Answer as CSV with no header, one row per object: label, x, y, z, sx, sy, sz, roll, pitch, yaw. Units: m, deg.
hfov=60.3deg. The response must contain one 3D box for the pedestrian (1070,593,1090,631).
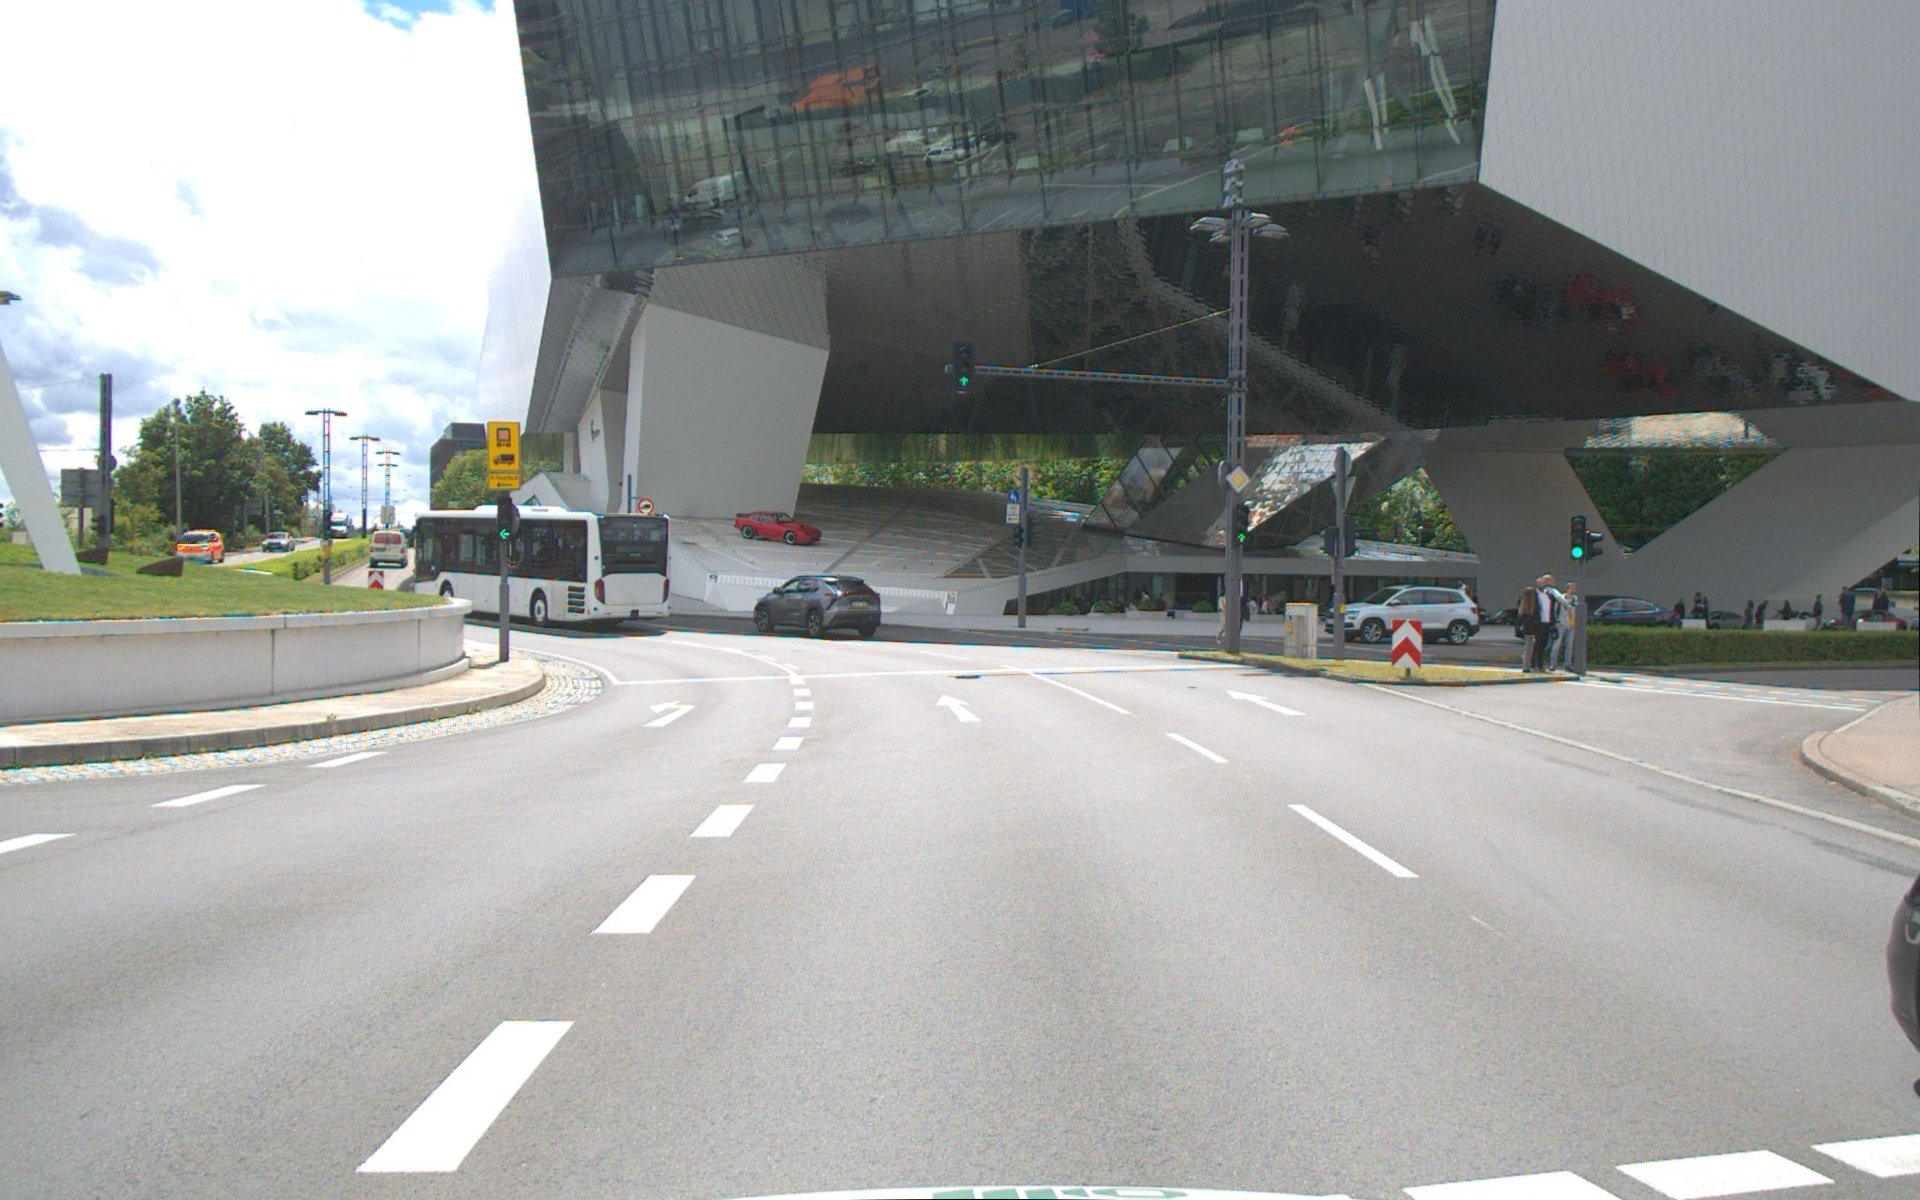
pedestrian,5.080,0.503,70.003,0.810,1.600,0.924,1,-1,5

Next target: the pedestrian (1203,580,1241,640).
pedestrian,6.769,0.263,42.721,0.757,1.522,0.580,1,-1,40

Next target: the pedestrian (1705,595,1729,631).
pedestrian,37.358,0.627,81.666,0.818,1.769,0.767,2,-1,-36

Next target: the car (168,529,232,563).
car,-45.363,-3.219,98.828,1.955,2.018,4.832,0,2,-6

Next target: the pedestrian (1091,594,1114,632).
pedestrian,6.128,0.556,70.987,0.901,1.600,0.831,1,-1,9

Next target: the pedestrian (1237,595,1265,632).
pedestrian,12.570,0.579,71.443,0.818,1.600,0.915,2,-1,-26

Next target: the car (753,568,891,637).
car,-3.814,0.024,45.324,1.979,1.664,3.948,-3,4,-37

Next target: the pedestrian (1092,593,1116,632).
pedestrian,6.092,0.542,70.012,0.901,1.600,0.831,1,-1,9

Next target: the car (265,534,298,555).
car,-51.664,-4.266,125.965,1.726,1.421,4.655,2,3,-16

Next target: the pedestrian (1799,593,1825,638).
pedestrian,41.189,0.727,79.960,0.817,2.151,0.768,2,-1,-33

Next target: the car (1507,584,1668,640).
car,17.804,0.339,46.917,4.085,1.407,1.827,2,1,-21

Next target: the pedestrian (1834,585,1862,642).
pedestrian,32.527,0.500,60.570,0.758,2.049,0.827,1,-1,21

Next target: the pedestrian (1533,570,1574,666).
pedestrian,11.831,0.363,32.951,0.658,1.879,0.619,1,-1,27

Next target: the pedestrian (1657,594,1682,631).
pedestrian,34.817,0.609,81.145,0.817,1.769,0.768,2,-1,-33

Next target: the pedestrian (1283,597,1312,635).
pedestrian,14.509,0.671,71.096,0.815,1.600,0.918,2,-1,-20

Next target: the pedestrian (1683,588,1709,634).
pedestrian,33.389,0.498,75.014,0.818,2.049,0.767,2,-1,-36

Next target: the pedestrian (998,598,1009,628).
pedestrian,1.873,0.574,71.501,0.387,1.275,0.400,2,-1,-7

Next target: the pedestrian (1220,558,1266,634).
pedestrian,7.777,-0.126,45.526,0.934,2.019,1.381,2,1,-1

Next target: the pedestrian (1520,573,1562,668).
pedestrian,11.363,0.391,32.342,0.658,1.826,0.619,1,-1,29

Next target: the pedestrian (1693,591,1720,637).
pedestrian,34.115,0.631,75.583,0.818,2.049,0.767,2,-1,-36

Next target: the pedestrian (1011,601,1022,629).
pedestrian,2.559,0.673,75.100,0.387,1.275,0.561,2,-1,-7

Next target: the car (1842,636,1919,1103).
car,3.666,0.875,3.271,1.796,1.348,4.002,2,1,2

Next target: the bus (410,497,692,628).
bus,-12.566,-1.027,49.579,3.054,3.421,12.041,2,-1,-41

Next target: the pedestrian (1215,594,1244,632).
pedestrian,11.492,0.558,70.584,0.818,1.600,0.915,2,-1,-26

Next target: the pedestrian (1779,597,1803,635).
pedestrian,39.620,0.752,78.849,0.820,1.769,0.765,2,-1,-41

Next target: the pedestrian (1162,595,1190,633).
pedestrian,9.363,0.613,71.594,0.818,1.600,0.915,2,-1,-26

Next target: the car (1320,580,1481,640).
car,12.205,0.276,45.881,3.916,1.577,1.833,-1,0,-11

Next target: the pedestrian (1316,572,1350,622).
pedestrian,14.065,-0.121,62.361,0.818,1.858,0.915,2,-1,-26

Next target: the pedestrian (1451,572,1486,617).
pedestrian,19.316,-0.206,62.825,0.818,1.705,0.915,2,-1,-26

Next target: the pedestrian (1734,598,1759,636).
pedestrian,37.187,0.784,78.230,0.818,1.769,0.767,2,-1,-36

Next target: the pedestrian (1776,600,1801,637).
pedestrian,40.223,0.896,80.327,0.817,1.769,0.768,2,-1,-32

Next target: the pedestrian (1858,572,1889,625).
pedestrian,36.250,-0.052,65.646,0.818,2.049,0.767,2,-1,-36

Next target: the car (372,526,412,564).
car,-31.552,-3.027,91.913,1.963,1.937,3.978,2,-1,-19

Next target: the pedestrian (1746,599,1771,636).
pedestrian,38.318,0.830,79.391,0.817,1.769,0.768,2,-1,-34

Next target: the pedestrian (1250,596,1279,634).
pedestrian,12.988,0.622,70.587,0.818,1.600,0.915,2,-1,-26

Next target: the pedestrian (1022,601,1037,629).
pedestrian,3.202,0.704,76.056,0.548,1.275,0.474,1,-1,23

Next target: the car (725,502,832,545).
car,-8.242,-3.494,74.937,4.417,1.417,1.997,9,8,29

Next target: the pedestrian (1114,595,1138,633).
pedestrian,7.094,0.580,70.760,0.779,1.600,0.691,1,-1,34

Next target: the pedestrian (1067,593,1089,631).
pedestrian,5.074,0.528,71.130,0.810,1.600,0.924,1,-1,10

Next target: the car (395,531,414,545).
car,-69.847,-7.747,208.104,1.961,1.664,4.637,2,1,-15

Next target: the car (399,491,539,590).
car,-19.947,-2.274,66.766,3.300,3.565,9.247,2,-1,-30

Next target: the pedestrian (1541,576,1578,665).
pedestrian,12.328,0.426,34.011,0.593,1.790,0.619,1,-1,29

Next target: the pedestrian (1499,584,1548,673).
pedestrian,10.787,0.544,31.673,0.607,1.667,0.670,2,-1,-14
